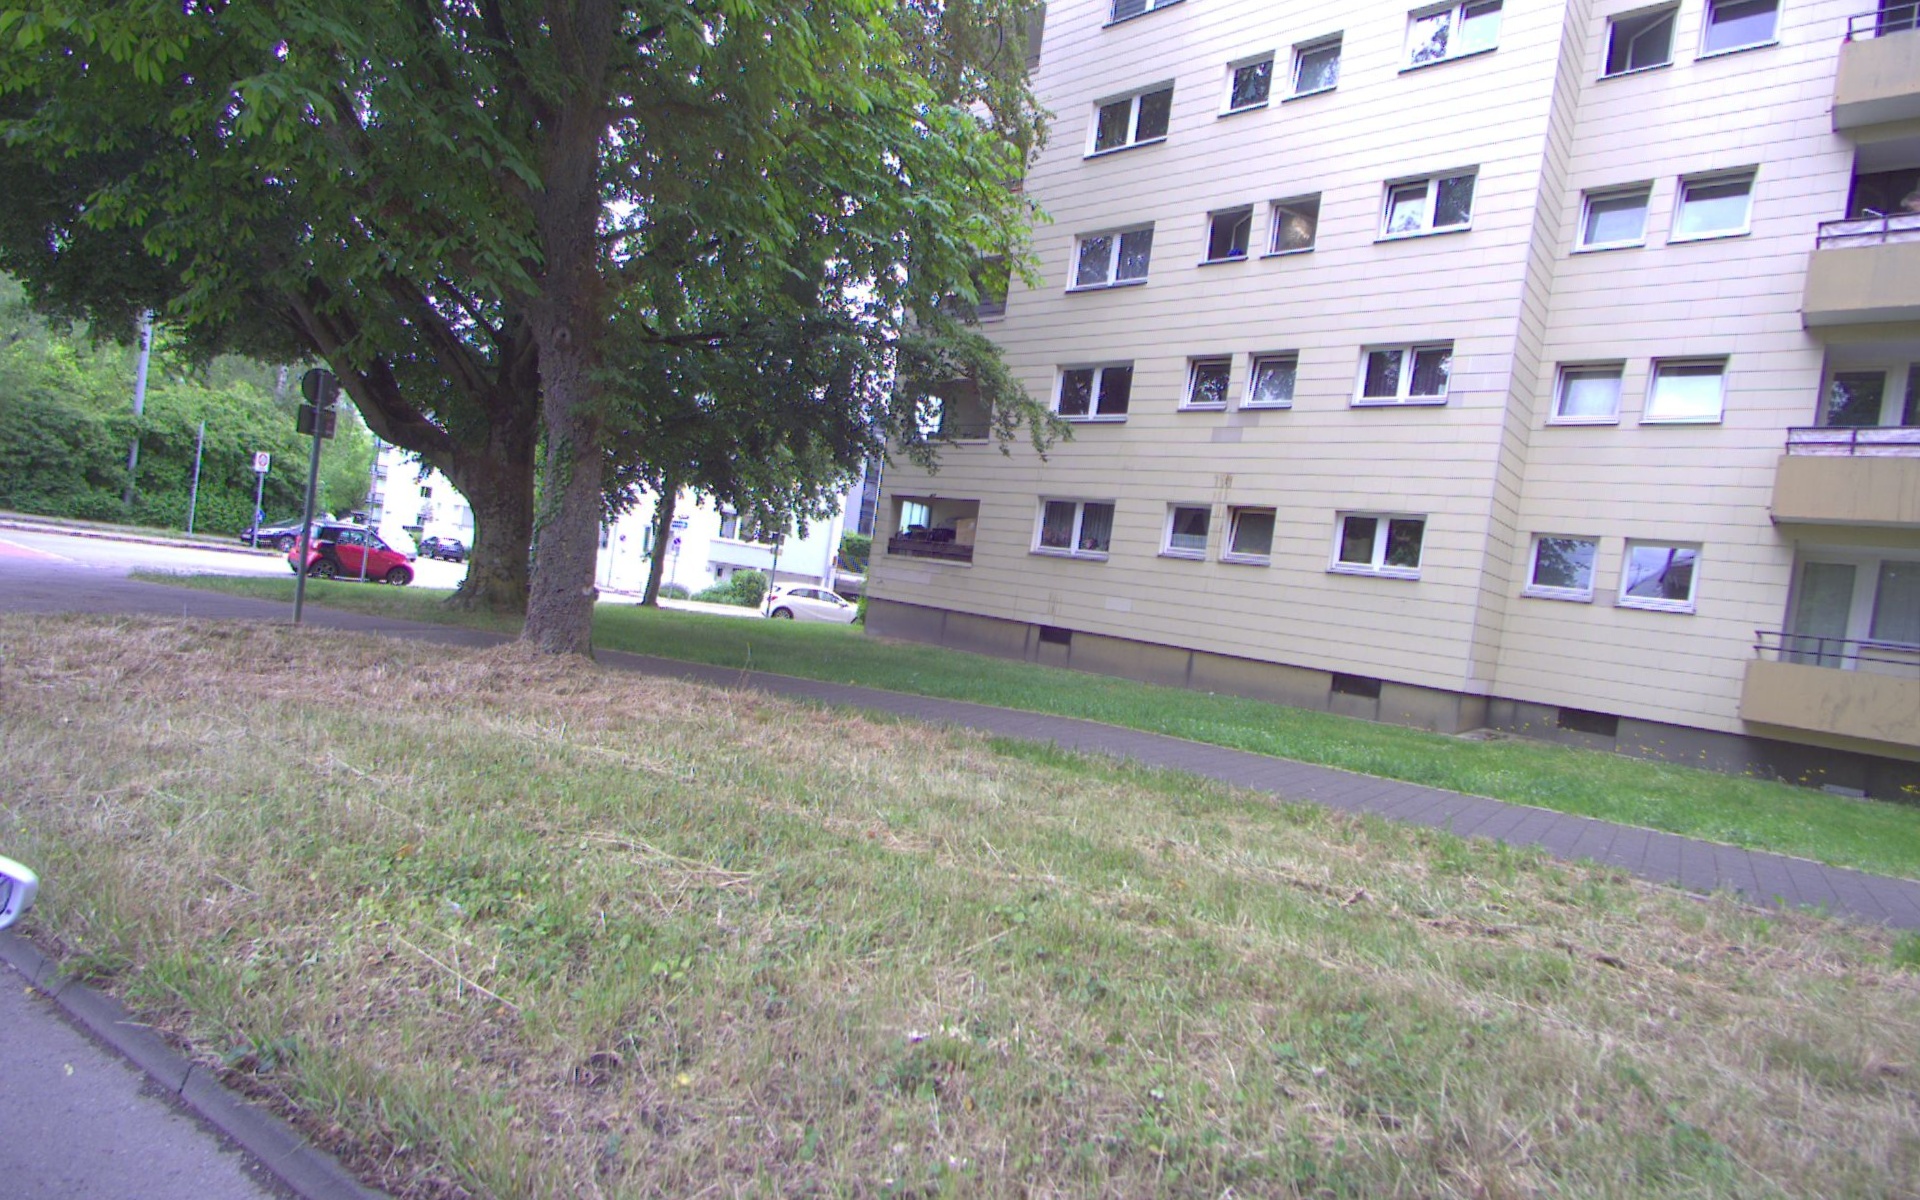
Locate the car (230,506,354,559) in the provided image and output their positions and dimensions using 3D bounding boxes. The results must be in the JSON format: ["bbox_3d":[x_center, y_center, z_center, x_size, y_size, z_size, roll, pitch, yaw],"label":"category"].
[{"bbox_3d":[-25.464,-2.553,38.403,1.702,1.550,3.515,8,1,37],"label":"car"}]

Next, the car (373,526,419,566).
[{"bbox_3d":[-26.999,-2.593,48.144,1.709,1.631,3.822,6,1,-30],"label":"car"}]

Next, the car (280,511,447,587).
[{"bbox_3d":[-16.519,-1.389,27.976,1.701,1.631,3.516,8,1,36],"label":"car"}]

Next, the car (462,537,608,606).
[{"bbox_3d":[-13.065,-0.876,30.973,3.815,1.631,1.713,6,1,-33],"label":"car"}]

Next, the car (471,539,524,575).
[{"bbox_3d":[-25.351,-2.364,55.043,1.713,1.631,3.812,6,1,-38],"label":"car"}]

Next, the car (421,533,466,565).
[{"bbox_3d":[-32.329,-3.212,62.951,1.713,1.631,3.812,6,1,-38],"label":"car"}]

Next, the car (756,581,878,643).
[{"bbox_3d":[-4.908,0.388,34.413,3.796,1.631,1.721,6,1,-18],"label":"car"}]
